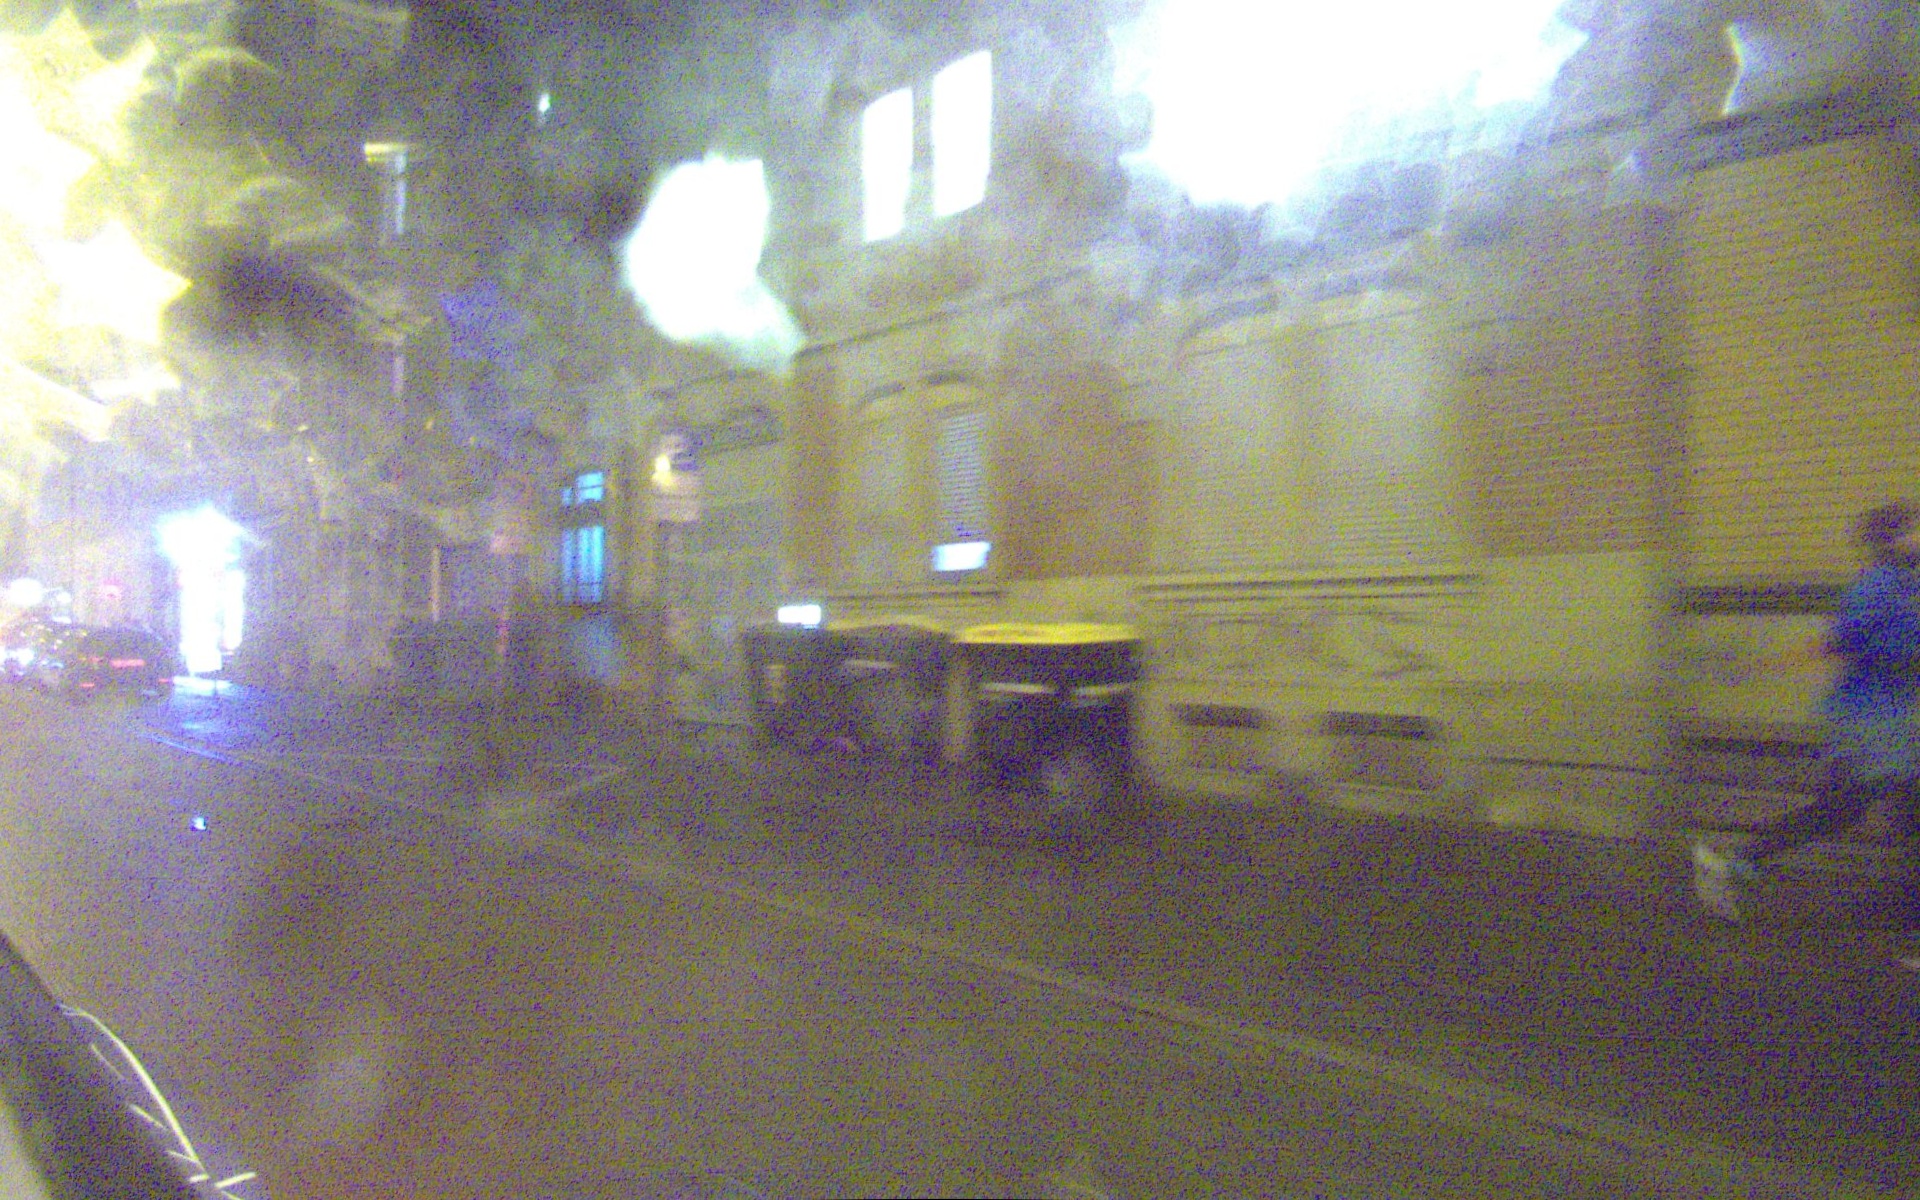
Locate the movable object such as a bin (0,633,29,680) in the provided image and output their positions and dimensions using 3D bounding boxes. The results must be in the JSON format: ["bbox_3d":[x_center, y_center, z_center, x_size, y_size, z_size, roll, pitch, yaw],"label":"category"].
[{"bbox_3d":[-30.397,1.790,32.124,1.107,1.470,1.152,-2,-1,43],"label":"movable object such as a bin"}]

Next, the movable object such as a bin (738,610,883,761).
[{"bbox_3d":[-1.557,0.845,10.510,1.133,1.430,0.964,-2,-1,43],"label":"movable object such as a bin"}]

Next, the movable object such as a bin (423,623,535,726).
[{"bbox_3d":[-7.289,1.092,15.331,1.248,1.430,1.128,-2,0,43],"label":"movable object such as a bin"}]

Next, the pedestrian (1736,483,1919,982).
[{"bbox_3d":[3.620,0.483,4.007,0.794,1.834,0.585,-2,0,41],"label":"pedestrian"}]

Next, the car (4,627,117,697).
[{"bbox_3d":[-22.334,1.501,25.079,4.022,1.564,1.587,-2,-1,41],"label":"car"}]

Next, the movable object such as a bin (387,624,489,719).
[{"bbox_3d":[-8.487,1.128,16.446,1.154,1.430,1.128,-2,0,43],"label":"movable object such as a bin"}]

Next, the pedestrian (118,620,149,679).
[{"bbox_3d":[-25.333,1.513,31.009,0.549,1.795,0.632,-2,-3,41],"label":"pedestrian"}]

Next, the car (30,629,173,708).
[{"bbox_3d":[-18.217,1.400,21.408,4.312,1.466,1.669,-2,-1,41],"label":"car"}]

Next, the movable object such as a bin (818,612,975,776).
[{"bbox_3d":[-0.611,0.851,9.713,1.133,1.430,0.964,-2,-1,43],"label":"movable object such as a bin"}]

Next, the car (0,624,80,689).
[{"bbox_3d":[-26.601,1.564,28.984,3.719,1.719,1.587,-2,-2,41],"label":"car"}]

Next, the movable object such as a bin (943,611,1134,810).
[{"bbox_3d":[0.617,0.816,8.050,1.133,1.409,0.964,-2,-1,43],"label":"movable object such as a bin"}]

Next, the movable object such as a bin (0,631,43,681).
[{"bbox_3d":[-29.350,1.727,31.386,1.150,1.470,1.249,-2,-1,43],"label":"movable object such as a bin"}]
